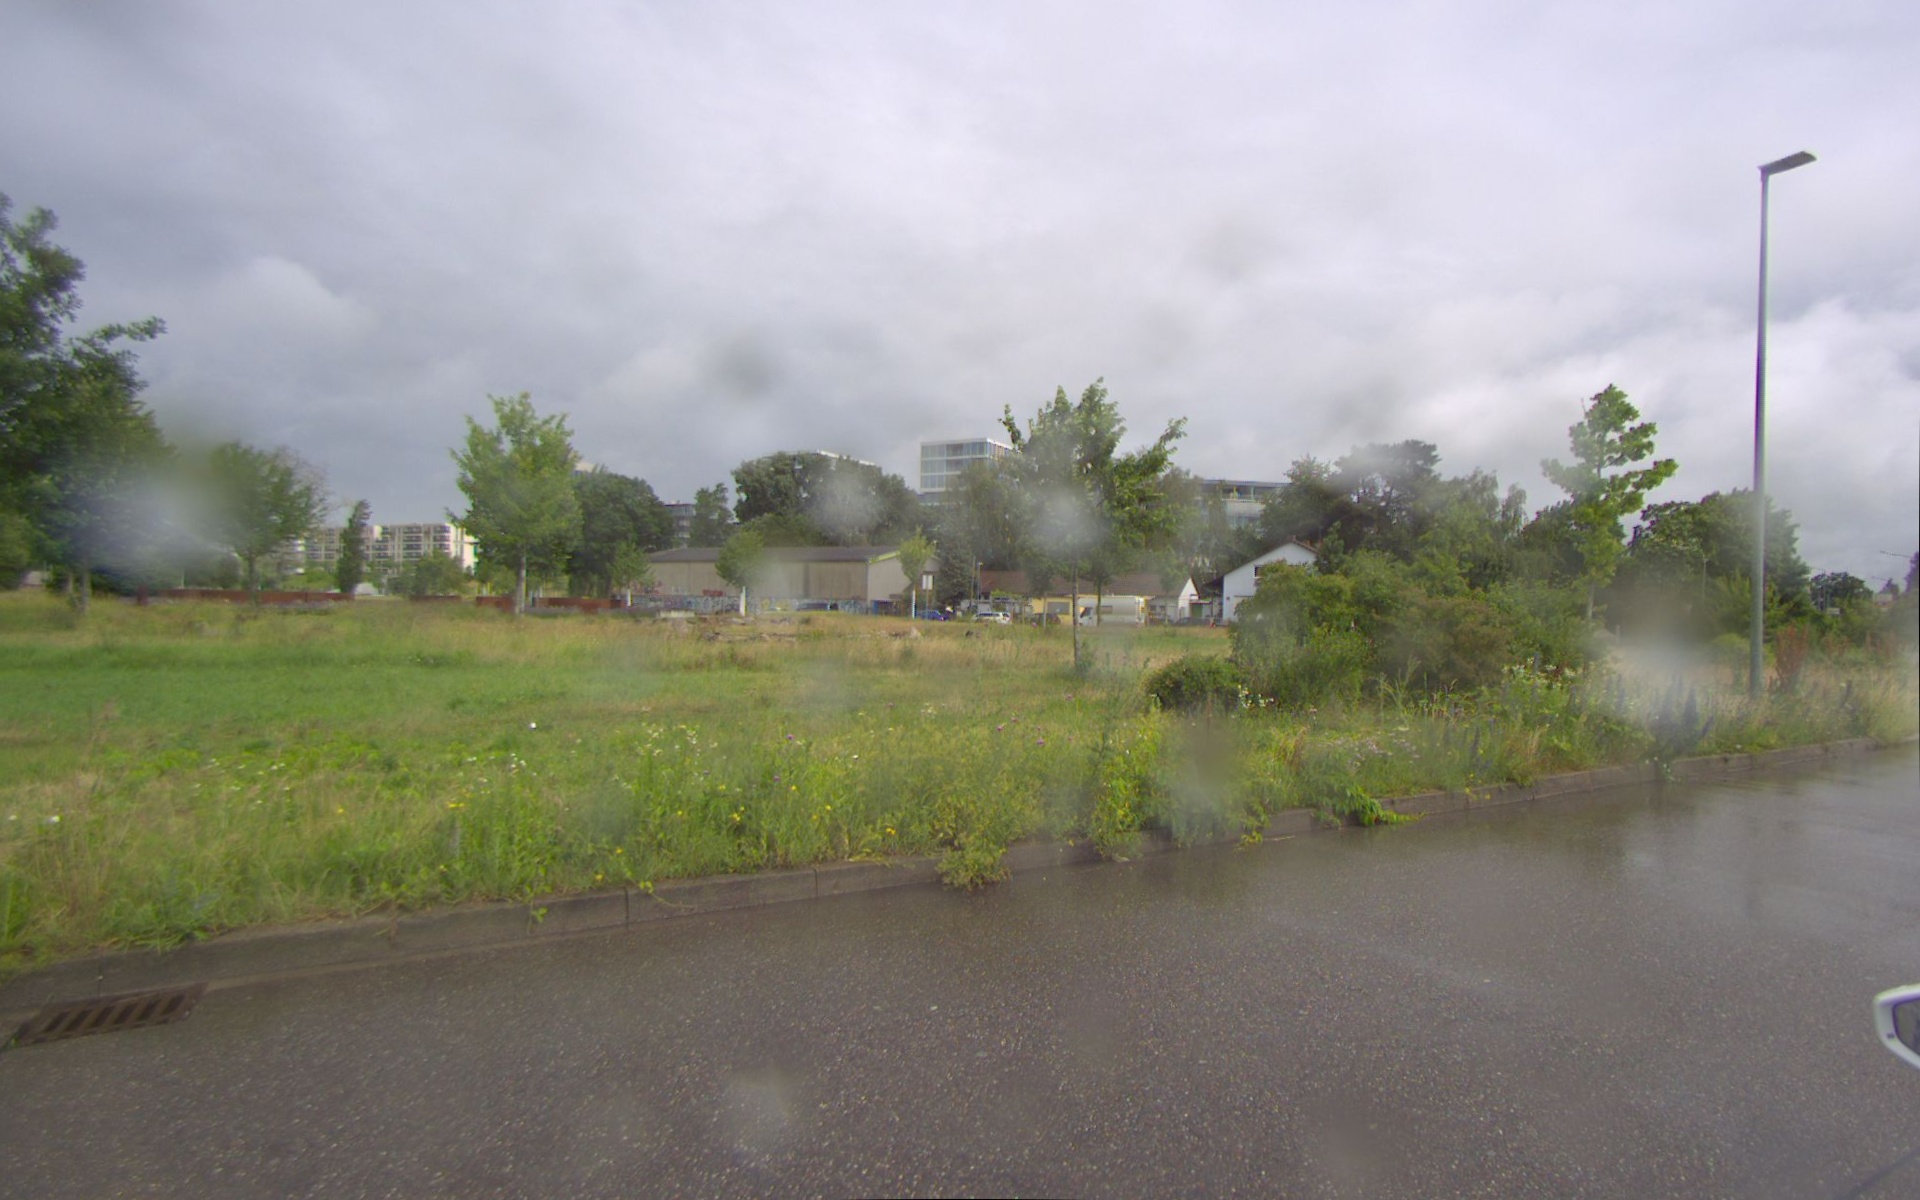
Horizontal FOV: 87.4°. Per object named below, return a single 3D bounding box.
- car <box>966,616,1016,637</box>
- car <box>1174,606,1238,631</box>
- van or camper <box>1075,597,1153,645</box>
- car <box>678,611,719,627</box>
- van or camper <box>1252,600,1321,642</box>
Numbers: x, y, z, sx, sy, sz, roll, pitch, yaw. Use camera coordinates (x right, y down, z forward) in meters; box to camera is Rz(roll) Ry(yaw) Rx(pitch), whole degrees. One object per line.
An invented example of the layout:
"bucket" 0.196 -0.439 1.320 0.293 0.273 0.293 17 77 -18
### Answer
"car" 2.722 2.345 88.432 3.930 1.726 1.877 1 0 31
"car" 19.165 1.412 78.216 4.440 1.799 1.995 1 0 32
"van or camper" 12.728 1.677 83.102 5.749 3.794 2.648 1 0 32
"car" -27.560 1.986 105.884 3.930 1.572 1.996 1 0 31
"van or camper" 24.690 1.573 75.939 4.437 2.985 2.478 1 0 32
